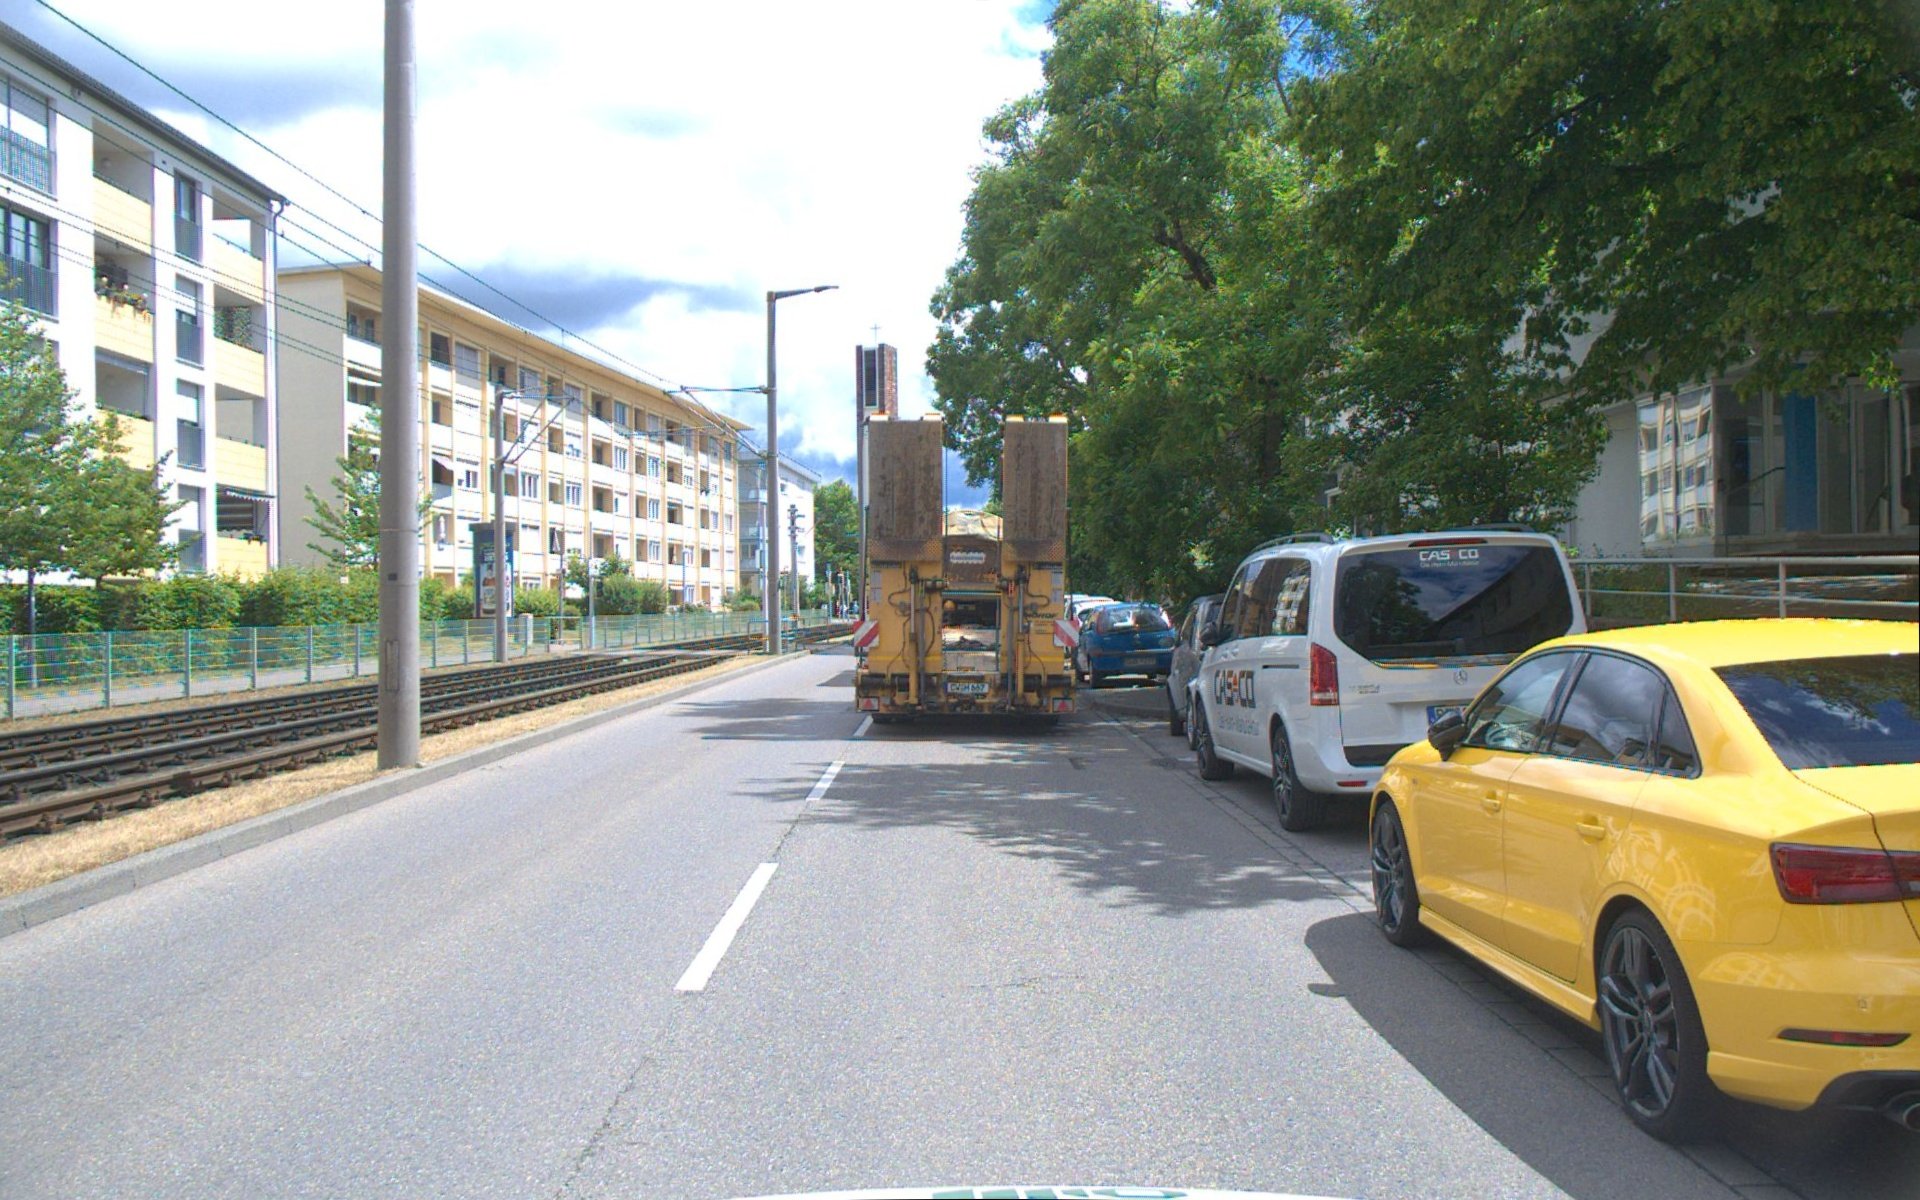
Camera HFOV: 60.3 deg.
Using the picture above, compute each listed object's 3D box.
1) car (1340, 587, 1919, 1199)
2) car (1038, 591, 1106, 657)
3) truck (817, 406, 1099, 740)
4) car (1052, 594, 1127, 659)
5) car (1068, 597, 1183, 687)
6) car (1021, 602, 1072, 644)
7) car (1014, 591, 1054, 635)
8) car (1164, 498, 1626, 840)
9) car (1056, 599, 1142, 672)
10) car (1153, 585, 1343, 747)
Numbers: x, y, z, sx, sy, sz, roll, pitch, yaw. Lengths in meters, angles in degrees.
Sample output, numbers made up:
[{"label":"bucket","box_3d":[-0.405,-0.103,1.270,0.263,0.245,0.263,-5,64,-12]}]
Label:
[{"label":"car","box_3d":[2.774,0.720,5.946,1.719,1.467,4.340,-2,0,-1]},{"label":"car","box_3d":[3.108,0.637,46.673,1.785,1.711,4.577,-1,0,3]},{"label":"truck","box_3d":[-0.134,-0.327,24.305,3.060,3.627,12.456,0,0,-1]},{"label":"car","box_3d":[3.250,0.642,42.022,1.549,1.579,3.474,0,0,-1]},{"label":"car","box_3d":[2.968,0.718,30.223,1.575,1.482,3.674,-2,0,-2]},{"label":"car","box_3d":[3.188,0.846,61.764,1.798,1.430,4.415,-2,0,2]},{"label":"car","box_3d":[3.557,0.603,79.916,1.762,2.003,4.590,-2,0,1]},{"label":"car","box_3d":[2.955,0.405,12.755,1.875,1.993,5.743,-1,0,-2]},{"label":"car","box_3d":[3.047,0.749,36.880,1.611,1.516,3.822,0,0,0]},{"label":"car","box_3d":[3.058,0.659,18.017,1.482,1.560,2.846,-2,0,-1]}]
